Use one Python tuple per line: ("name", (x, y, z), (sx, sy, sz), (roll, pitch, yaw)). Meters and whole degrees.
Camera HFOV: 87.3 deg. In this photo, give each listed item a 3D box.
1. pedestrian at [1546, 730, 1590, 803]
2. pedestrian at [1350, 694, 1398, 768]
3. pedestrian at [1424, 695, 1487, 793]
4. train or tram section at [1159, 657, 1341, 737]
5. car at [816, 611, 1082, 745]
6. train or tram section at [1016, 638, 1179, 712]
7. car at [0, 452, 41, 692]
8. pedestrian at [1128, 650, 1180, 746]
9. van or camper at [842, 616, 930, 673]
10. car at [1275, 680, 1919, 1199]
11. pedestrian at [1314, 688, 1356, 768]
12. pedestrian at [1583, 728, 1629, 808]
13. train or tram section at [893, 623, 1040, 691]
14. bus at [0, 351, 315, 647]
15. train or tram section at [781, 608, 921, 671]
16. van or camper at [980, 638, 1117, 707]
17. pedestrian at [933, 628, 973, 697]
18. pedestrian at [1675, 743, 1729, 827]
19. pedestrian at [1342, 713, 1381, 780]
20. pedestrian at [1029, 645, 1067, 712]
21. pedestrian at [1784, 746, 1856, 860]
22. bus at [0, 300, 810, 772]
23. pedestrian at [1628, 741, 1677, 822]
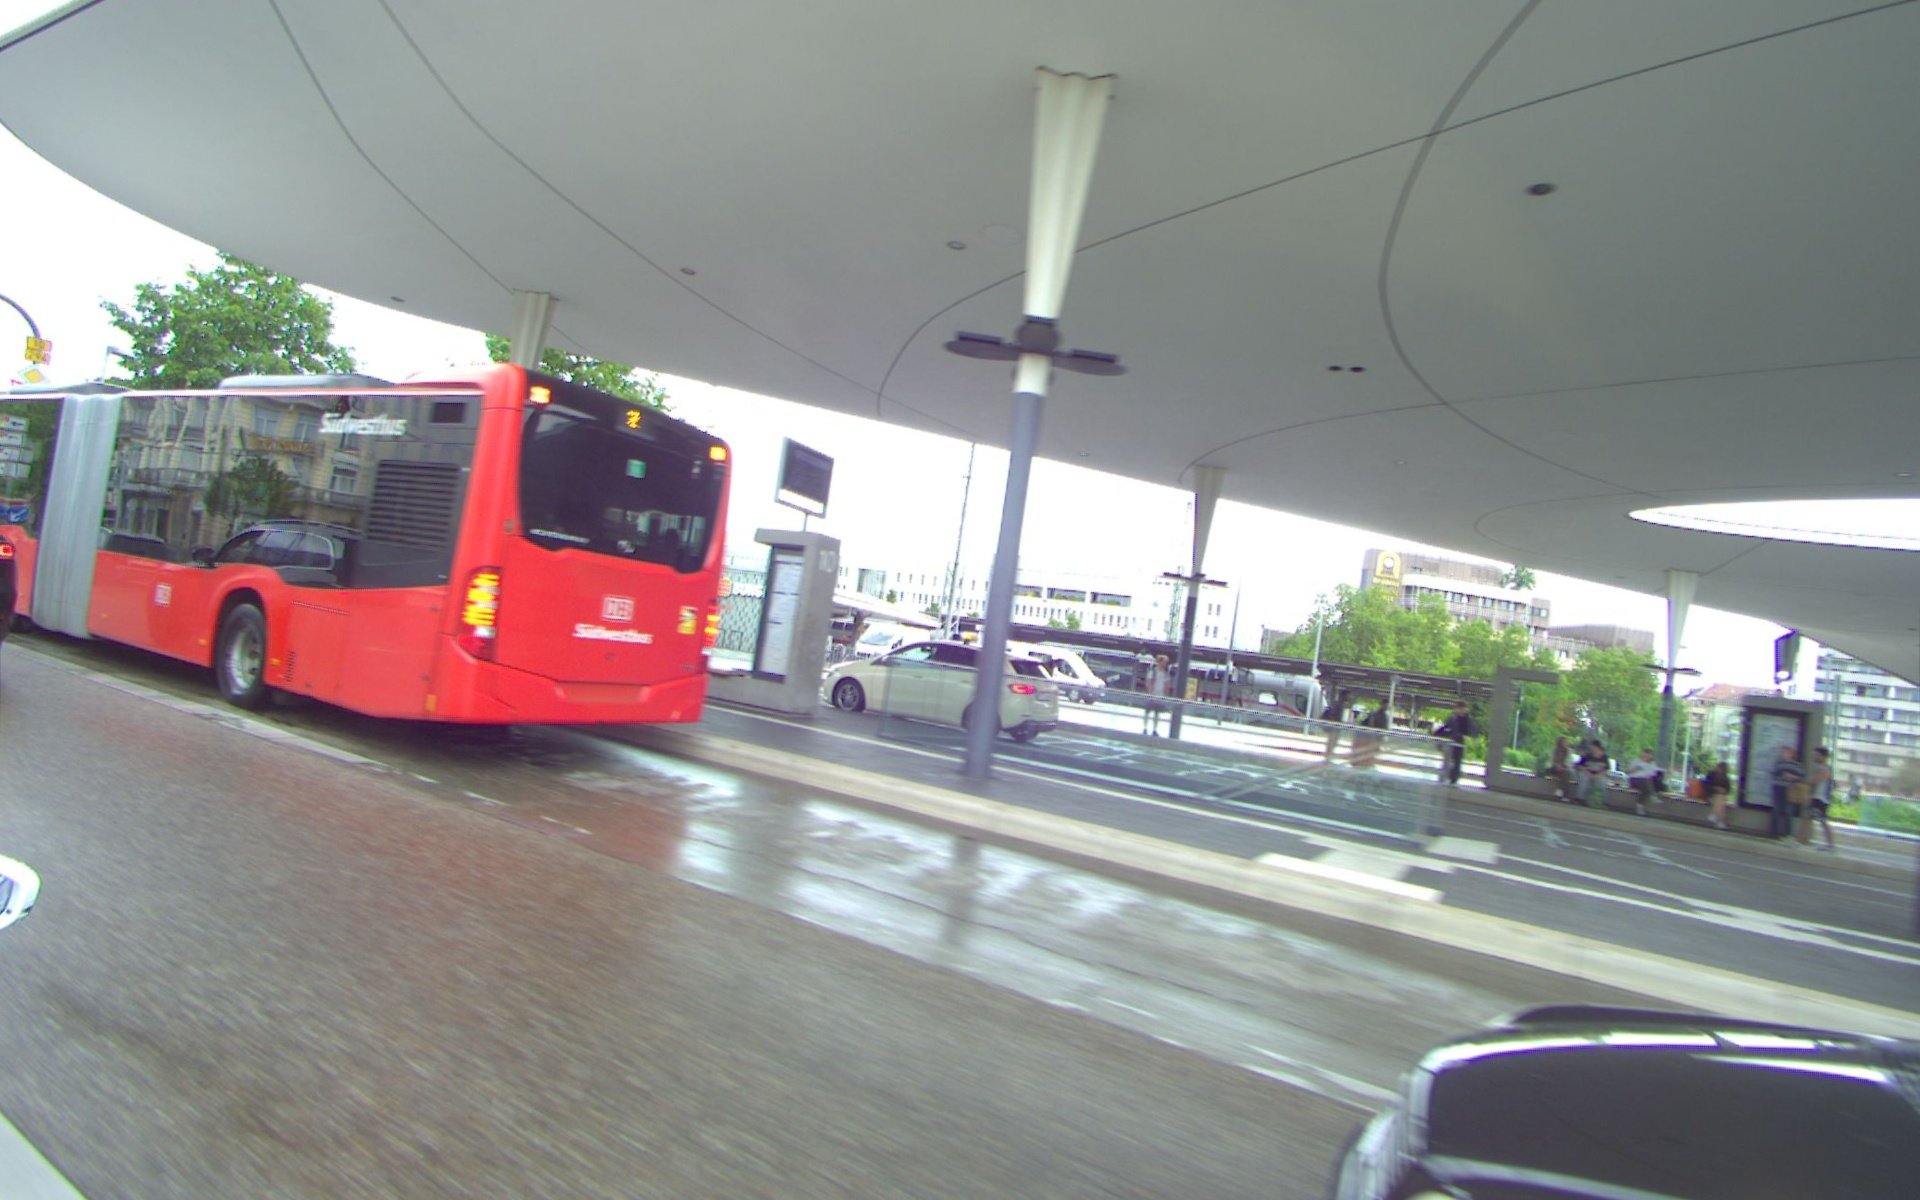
("pedestrian", (12.298, 3.357, 20.353), (0.603, 1.375, 0.562), (6, -3, 27))
("pedestrian", (9.541, 3.028, 23.199), (0.759, 1.592, 0.583), (7, -7, -2))
("pedestrian", (9.768, 2.830, 19.867), (0.752, 1.730, 0.711), (8, 3, 13))
("train or tram section", (20.090, 6.717, 70.118), (11.419, 3.712, 3.146), (6, -7, 30))
("car", (-0.223, 1.333, 17.538), (4.167, 1.680, 1.718), (6, -4, 30))
("train or tram section", (10.256, 5.580, 75.866), (11.419, 3.715, 3.146), (6, -6, 30))
("car", (-10.070, -0.511, 8.503), (4.791, 1.898, 1.961), (6, -1, 31))
("pedestrian", (4.348, 2.199, 22.556), (0.720, 2.031, 0.665), (11, -8, -33))
("van or camper", (-3.615, 2.282, 50.382), (2.073, 2.294, 4.703), (6, -4, 26))
("car", (2.695, 1.196, 1.192), (4.230, 1.479, 1.702), (8, -1, 29))
("pedestrian", (7.977, 2.708, 21.407), (0.698, 1.600, 0.600), (5, -2, 21))
("pedestrian", (12.846, 3.327, 20.021), (0.603, 1.460, 0.562), (6, -3, 27))
("train or tram section", (0.443, 4.557, 81.628), (11.419, 3.693, 3.146), (6, -6, 30))
("bus", (-14.255, -1.541, 15.687), (8.702, 3.326, 3.298), (6, -2, 31))
("train or tram section", (-9.559, 3.383, 87.491), (12.114, 3.693, 3.146), (6, -6, 30))
("van or camper", (4.294, 3.521, 49.132), (6.108, 2.536, 2.100), (6, -3, 27))
("pedestrian", (-0.175, 1.546, 24.687), (0.573, 1.592, 0.772), (9, -7, -19))
("pedestrian", (14.159, 3.515, 19.214), (0.624, 1.460, 0.562), (6, -3, 27))
("pedestrian", (8.952, 3.260, 22.421), (0.469, 1.403, 0.559), (10, -8, -24))
("pedestrian", (2.254, 2.023, 25.901), (0.759, 1.592, 0.583), (7, -7, -2))
("pedestrian", (13.916, 3.261, 16.291), (0.602, 1.710, 0.562), (7, -3, 24))
("bus", (-7.049, -0.765, 11.243), (10.697, 3.329, 3.294), (6, -2, 31))
("pedestrian", (13.546, 3.531, 19.694), (0.603, 1.460, 0.562), (6, -3, 27))
